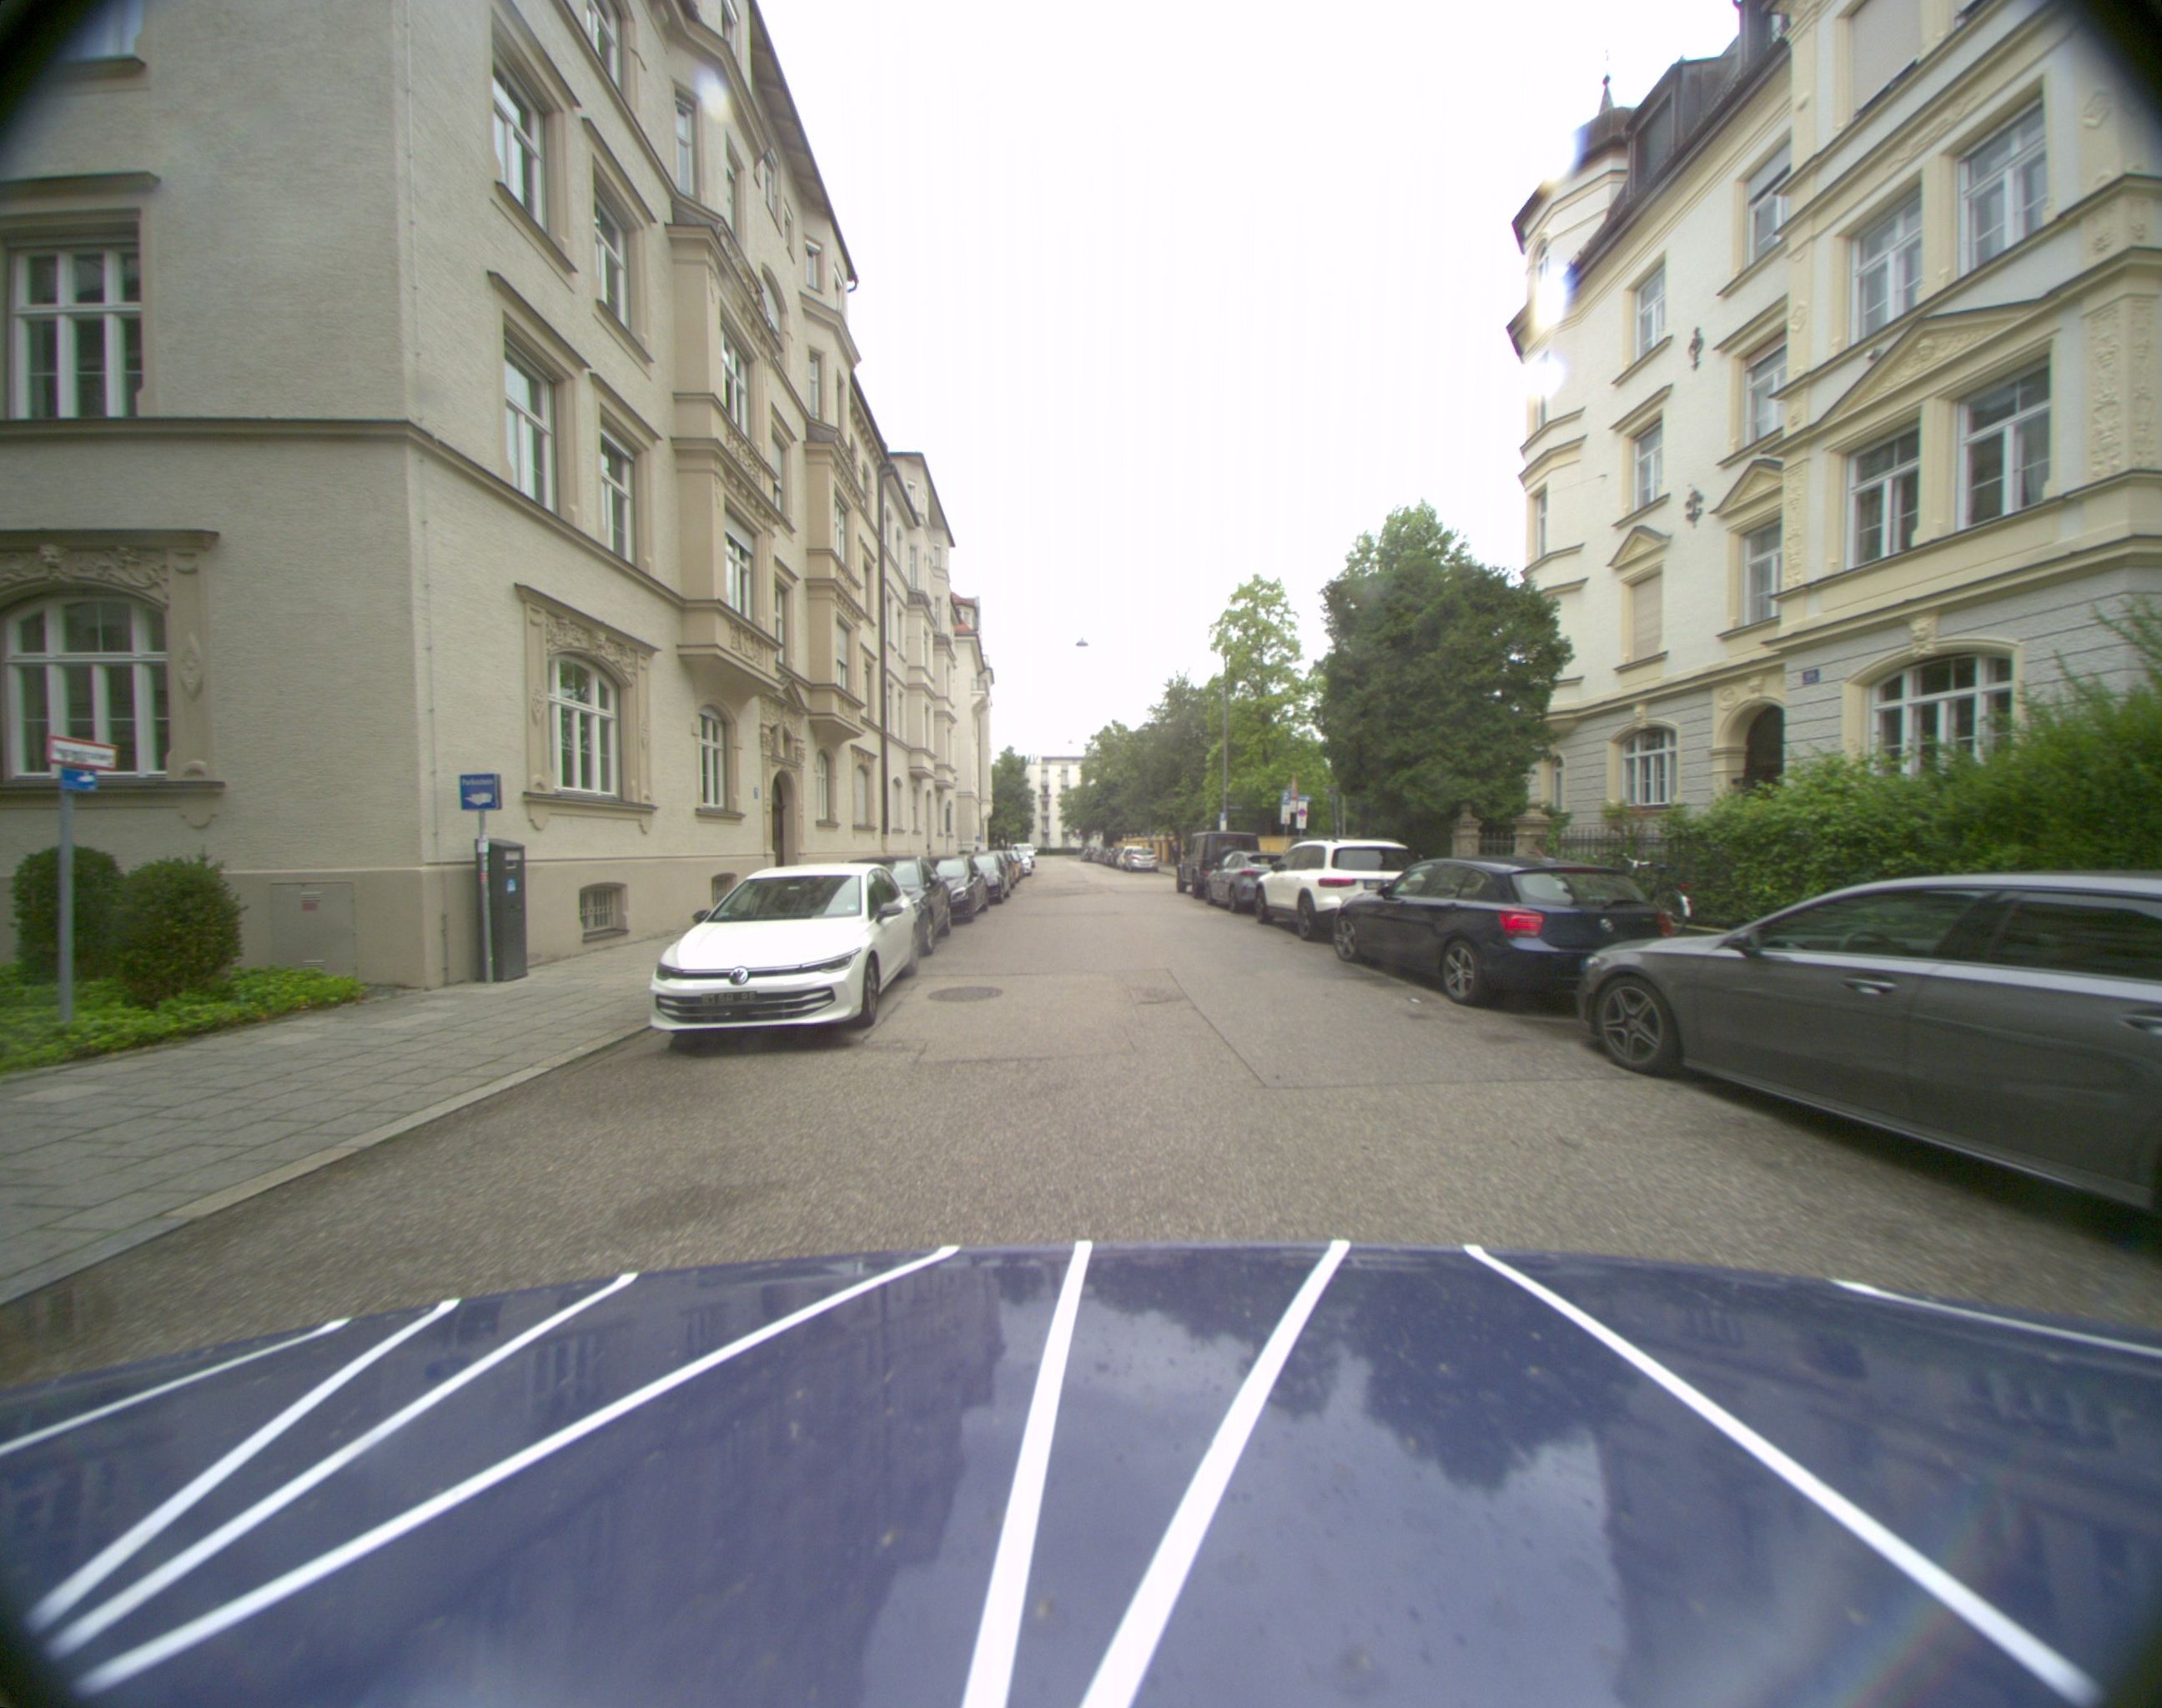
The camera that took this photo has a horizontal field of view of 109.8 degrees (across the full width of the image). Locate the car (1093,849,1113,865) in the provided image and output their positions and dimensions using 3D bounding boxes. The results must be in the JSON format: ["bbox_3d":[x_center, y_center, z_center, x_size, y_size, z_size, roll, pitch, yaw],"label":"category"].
[{"bbox_3d":[2.180,0.301,74.983,1.654,1.552,3.929,0,1,-3],"label":"car"}]

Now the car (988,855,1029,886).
[{"bbox_3d":[-3.661,0.797,38.898,1.715,1.382,3.999,-2,1,-1],"label":"car"}]

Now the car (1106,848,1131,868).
[{"bbox_3d":[3.029,0.336,61.740,1.654,1.552,3.929,0,1,-3],"label":"car"}]

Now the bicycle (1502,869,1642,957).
[{"bbox_3d":[8.165,0.921,12.821,0.698,1.253,2.530,1,1,0],"label":"bicycle"}]

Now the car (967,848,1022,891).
[{"bbox_3d":[-3.297,0.548,29.593,1.747,1.507,3.957,-1,1,-1],"label":"car"}]

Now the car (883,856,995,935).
[{"bbox_3d":[-3.080,0.842,17.312,1.746,1.390,4.021,-3,2,0],"label":"car"}]

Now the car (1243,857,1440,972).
[{"bbox_3d":[4.328,0.907,13.466,1.811,1.638,4.484,0,1,-2],"label":"car"}]

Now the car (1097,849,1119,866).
[{"bbox_3d":[2.473,0.311,70.142,1.654,1.552,3.929,0,1,-3],"label":"car"}]

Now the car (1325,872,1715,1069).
[{"bbox_3d":[4.293,1.009,8.305,1.773,1.412,3.997,-1,2,-4],"label":"car"}]

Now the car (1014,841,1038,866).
[{"bbox_3d":[-4.453,-0.084,61.993,1.794,1.926,4.083,-2,1,-4],"label":"car"}]

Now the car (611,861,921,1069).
[{"bbox_3d":[-2.816,0.862,7.814,1.667,1.499,4.063,-1,0,-3],"label":"car"}]

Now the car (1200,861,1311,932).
[{"bbox_3d":[4.150,0.952,18.659,1.647,1.422,3.918,2,1,-2],"label":"car"}]

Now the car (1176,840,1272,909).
[{"bbox_3d":[4.208,0.513,23.222,1.917,1.876,4.815,0,1,-1],"label":"car"}]

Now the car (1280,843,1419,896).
[{"bbox_3d":[10.066,0.546,28.691,4.521,1.847,2.053,-1,1,-8],"label":"car"}]

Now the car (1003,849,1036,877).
[{"bbox_3d":[-3.496,0.478,43.569,1.715,1.462,4.083,-2,1,-4],"label":"car"}]

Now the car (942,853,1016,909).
[{"bbox_3d":[-2.921,0.731,22.549,1.646,1.409,3.999,-2,1,0],"label":"car"}]

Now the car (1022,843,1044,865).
[{"bbox_3d":[-4.294,-0.011,67.588,1.794,1.776,4.083,-2,1,-4],"label":"car"}]

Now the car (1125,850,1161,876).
[{"bbox_3d":[3.737,0.523,46.430,1.705,1.484,3.954,0,1,-3],"label":"car"}]

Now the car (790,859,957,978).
[{"bbox_3d":[-3.163,0.896,12.436,1.797,1.489,4.080,-3,0,-4],"label":"car"}]

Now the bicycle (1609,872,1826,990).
[{"bbox_3d":[8.344,0.935,10.179,0.757,1.289,2.530,1,1,0],"label":"bicycle"}]

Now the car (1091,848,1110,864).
[{"bbox_3d":[2.001,0.193,79.878,1.654,1.552,3.929,0,1,-3],"label":"car"}]

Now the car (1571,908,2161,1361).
[{"bbox_3d":[4.597,1.100,3.506,1.740,1.357,4.191,1,0,-4],"label":"car"}]

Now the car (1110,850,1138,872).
[{"bbox_3d":[3.166,0.517,56.640,1.654,1.552,3.929,0,1,-3],"label":"car"}]

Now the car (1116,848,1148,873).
[{"bbox_3d":[3.421,0.410,51.533,1.705,1.552,3.929,-2,1,-3],"label":"car"}]
